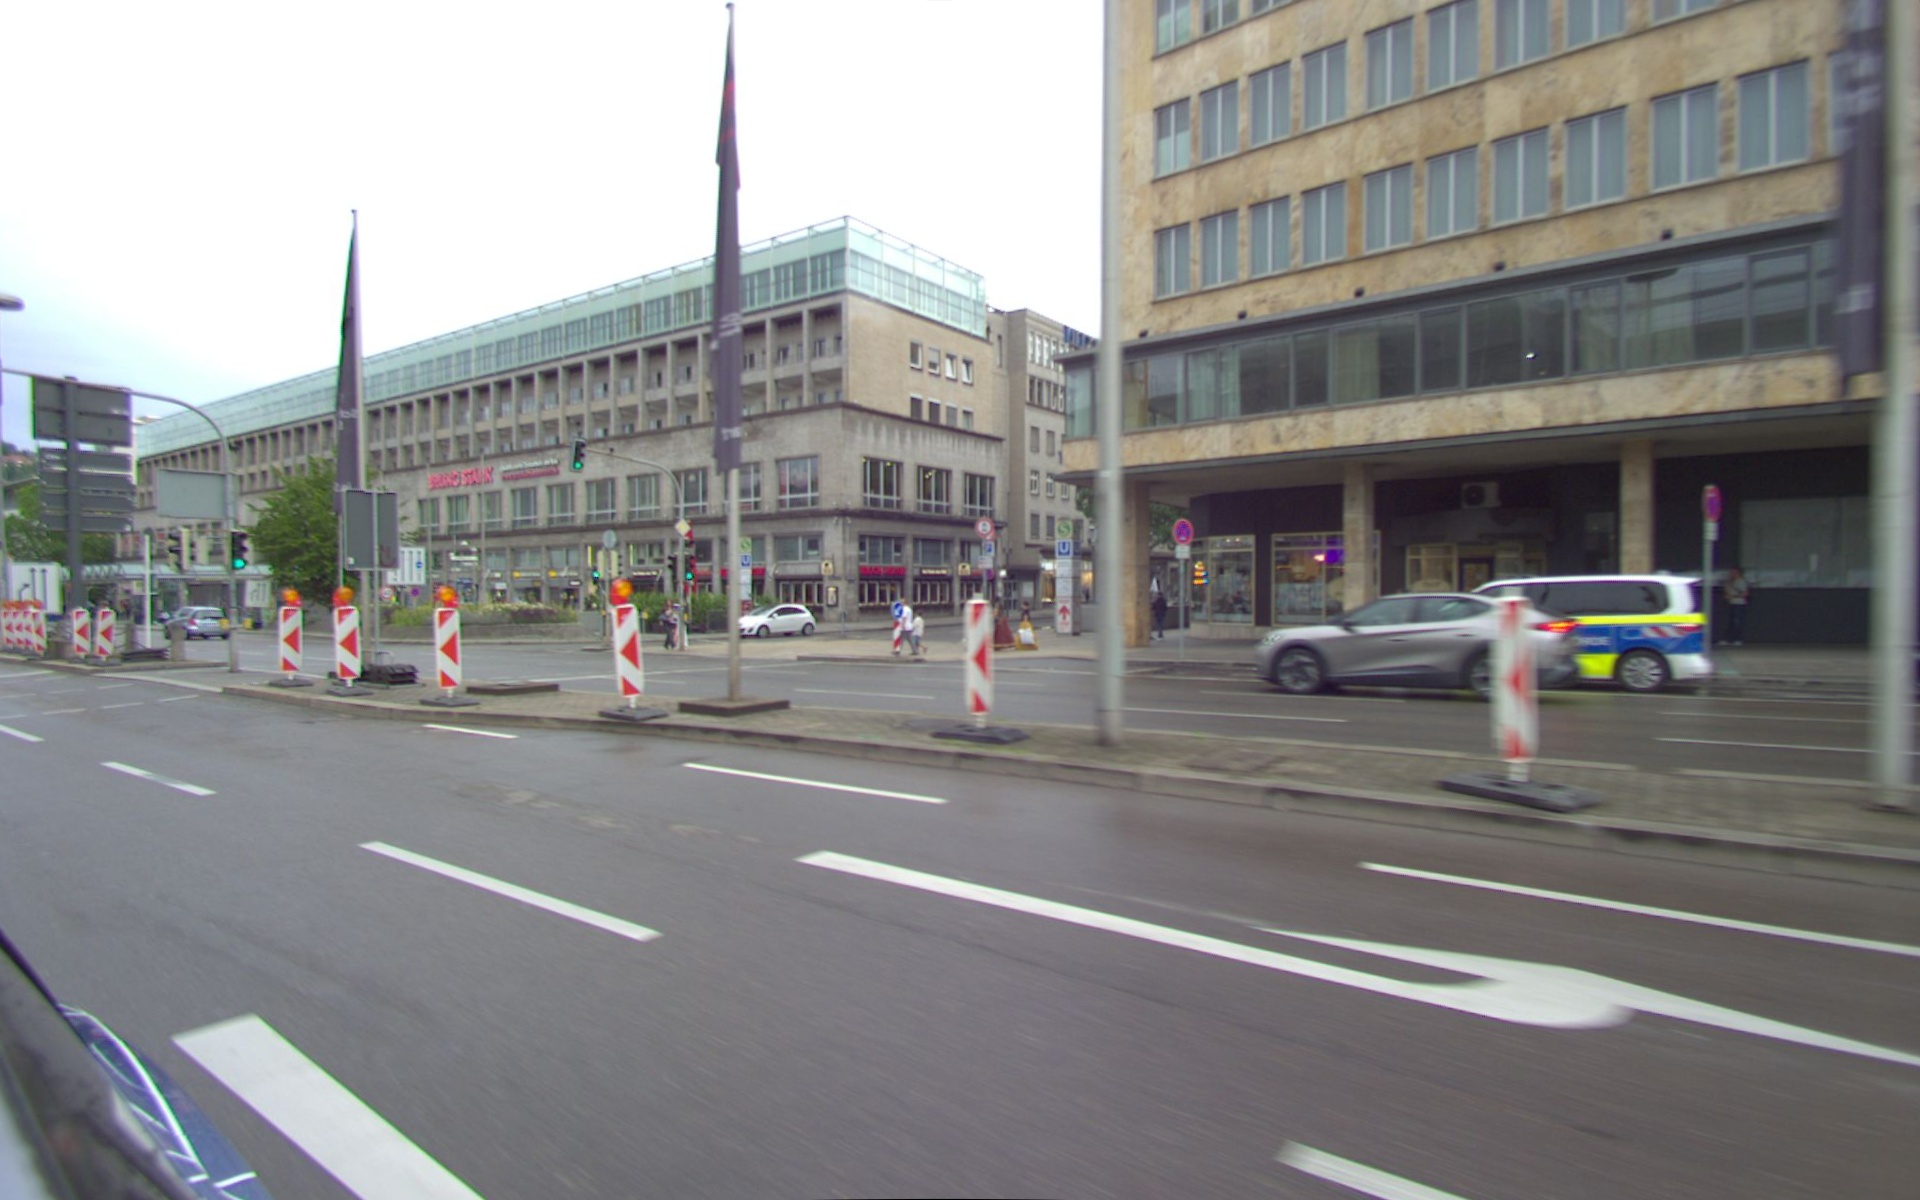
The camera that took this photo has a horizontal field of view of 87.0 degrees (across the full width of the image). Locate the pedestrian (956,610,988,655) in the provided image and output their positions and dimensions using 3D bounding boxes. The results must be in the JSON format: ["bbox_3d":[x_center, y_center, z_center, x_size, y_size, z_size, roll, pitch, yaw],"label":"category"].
[{"bbox_3d":[0.359,0.955,29.805,0.751,1.301,0.558,-1,-1,35],"label":"pedestrian"}]

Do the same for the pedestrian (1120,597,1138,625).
[{"bbox_3d":[8.532,0.548,51.076,0.601,1.375,0.692,0,3,38],"label":"pedestrian"}]

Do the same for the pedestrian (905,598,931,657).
[{"bbox_3d":[-1.178,0.776,28.506,0.524,1.630,0.447,-1,3,25],"label":"pedestrian"}]

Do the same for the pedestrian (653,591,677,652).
[{"bbox_3d":[-9.523,0.697,32.687,0.705,1.939,0.593,-1,0,-12],"label":"pedestrian"}]

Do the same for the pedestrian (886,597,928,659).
[{"bbox_3d":[-1.465,0.767,27.880,0.785,1.630,0.832,-1,3,26],"label":"pedestrian"}]

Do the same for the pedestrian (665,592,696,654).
[{"bbox_3d":[-8.889,0.724,32.167,0.750,1.939,0.584,-1,0,36],"label":"pedestrian"}]

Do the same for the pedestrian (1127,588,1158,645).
[{"bbox_3d":[6.230,0.556,34.469,0.772,1.889,0.707,-1,0,42],"label":"pedestrian"}]

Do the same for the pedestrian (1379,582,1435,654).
[{"bbox_3d":[10.050,0.399,22.758,0.956,1.561,0.707,-1,0,43],"label":"pedestrian"}]

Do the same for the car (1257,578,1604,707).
[{"bbox_3d":[7.000,0.589,15.317,4.494,1.682,1.757,-1,-1,38],"label":"car"}]

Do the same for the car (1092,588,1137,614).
[{"bbox_3d":[11.122,0.070,72.532,1.791,1.741,4.040,-1,0,31],"label":"car"}]

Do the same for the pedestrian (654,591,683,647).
[{"bbox_3d":[-10.735,0.683,37.293,0.806,2.029,0.697,-1,-1,37],"label":"pedestrian"}]

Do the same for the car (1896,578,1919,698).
[{"bbox_3d":[15.393,0.499,13.123,4.556,1.633,1.739,-1,0,36],"label":"car"}]

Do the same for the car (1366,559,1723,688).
[{"bbox_3d":[9.903,0.428,17.439,5.065,1.943,1.883,-2,-1,36],"label":"car"}]

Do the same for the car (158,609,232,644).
[{"bbox_3d":[-36.772,1.250,48.615,3.992,1.633,1.739,-1,0,36],"label":"car"}]

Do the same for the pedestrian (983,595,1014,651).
[{"bbox_3d":[1.122,0.668,29.561,0.677,1.604,0.660,-1,0,26],"label":"pedestrian"}]

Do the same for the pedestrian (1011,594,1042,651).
[{"bbox_3d":[1.971,0.657,30.058,0.751,1.681,0.558,-1,-1,35],"label":"pedestrian"}]

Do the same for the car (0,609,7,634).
[{"bbox_3d":[-68.875,1.525,71.180,3.990,1.696,1.866,-1,0,35],"label":"car"}]

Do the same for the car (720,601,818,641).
[{"bbox_3d":[-8.419,0.905,44.863,1.805,1.652,4.038,-1,0,41],"label":"car"}]

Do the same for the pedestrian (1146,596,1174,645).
[{"bbox_3d":[6.677,0.671,33.748,0.683,1.621,0.617,-1,0,42],"label":"pedestrian"}]
